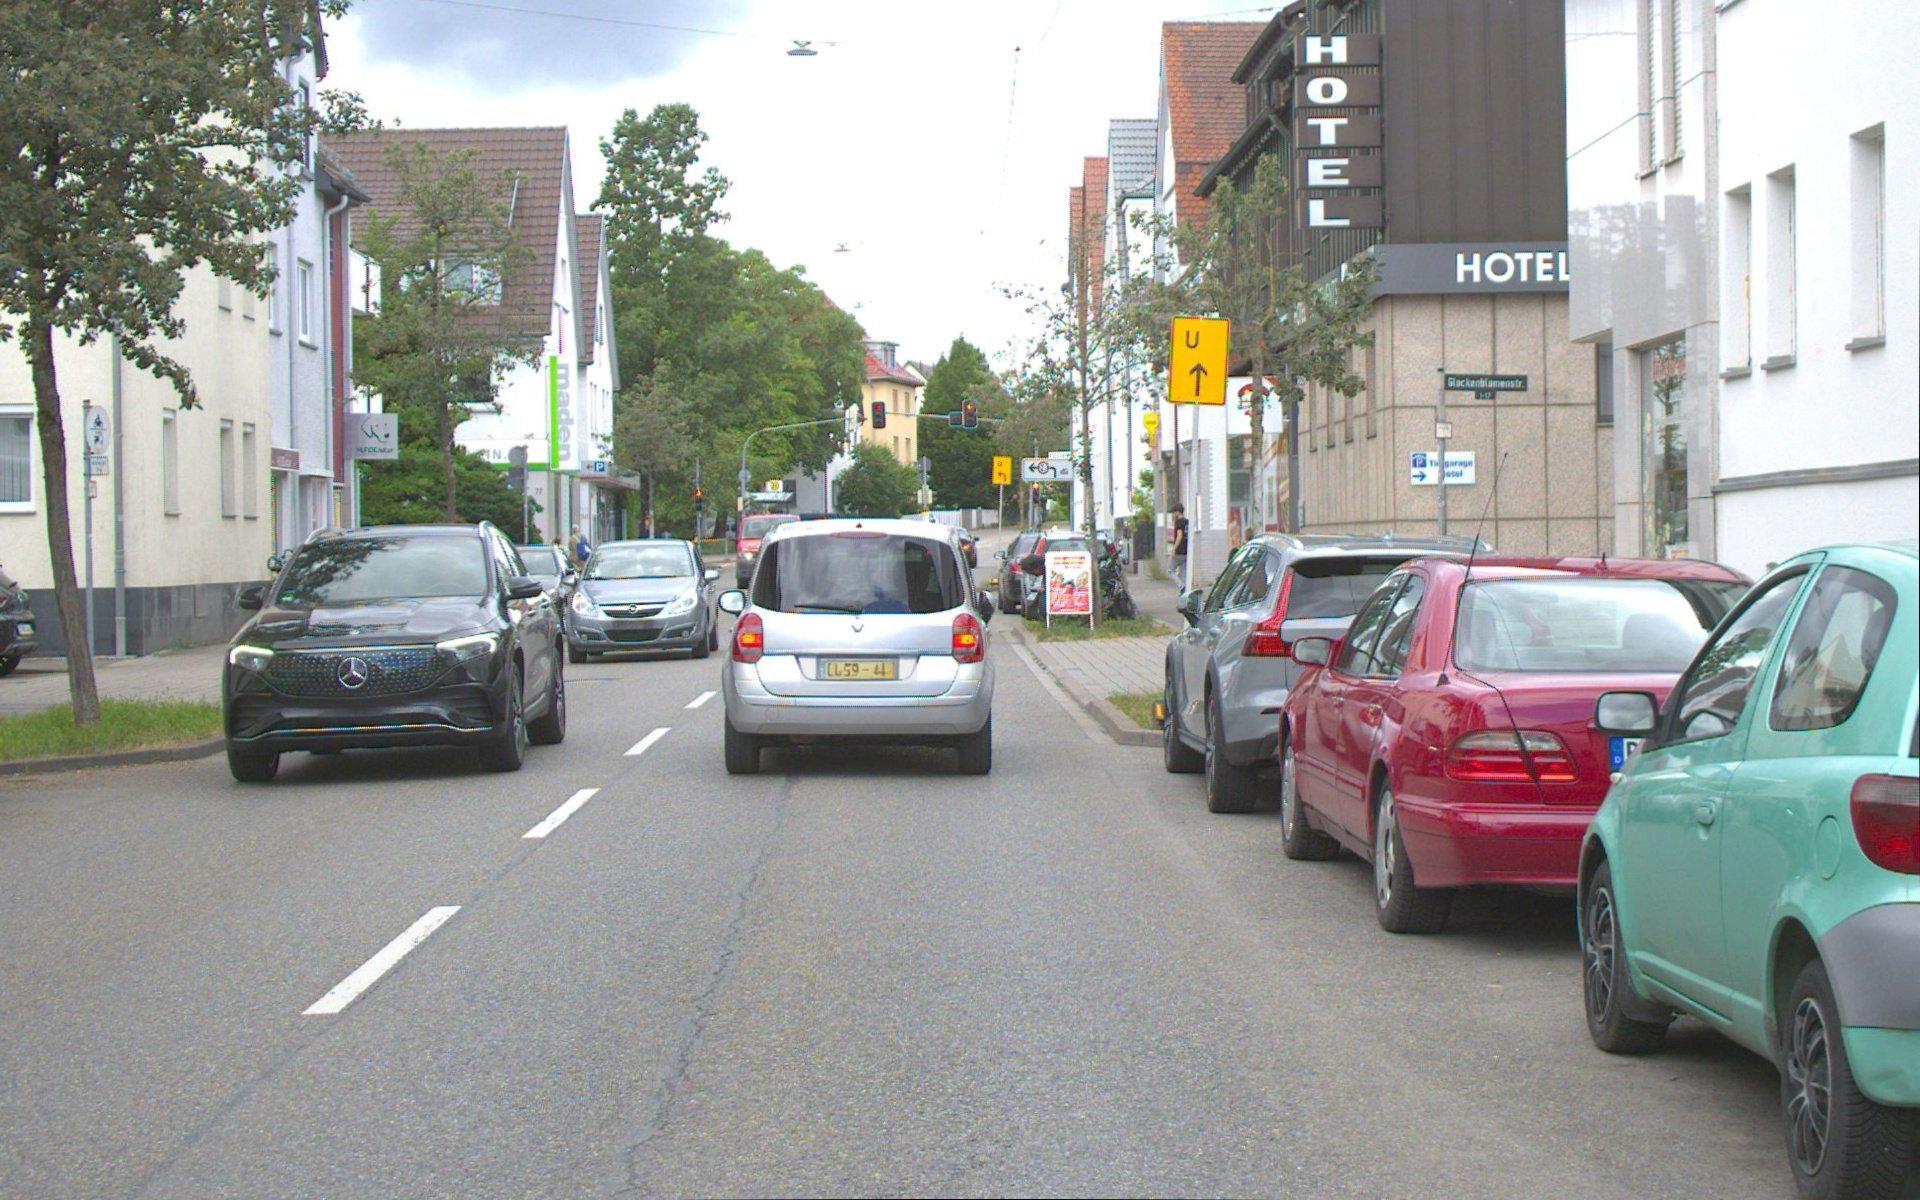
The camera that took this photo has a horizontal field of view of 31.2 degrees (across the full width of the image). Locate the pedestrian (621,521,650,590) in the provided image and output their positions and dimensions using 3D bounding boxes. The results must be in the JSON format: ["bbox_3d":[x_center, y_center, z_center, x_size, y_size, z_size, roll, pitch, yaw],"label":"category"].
[{"bbox_3d":[-8.859,-1.212,93.921,0.716,1.869,0.696,0,1,-1],"label":"pedestrian"}]

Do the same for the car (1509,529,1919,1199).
[{"bbox_3d":[2.693,0.573,9.024,1.831,1.492,3.993,1,1,0],"label":"car"}]

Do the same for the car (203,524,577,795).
[{"bbox_3d":[-3.698,0.316,23.015,1.794,1.573,4.192,-2,1,-1],"label":"car"}]

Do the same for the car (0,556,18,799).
[{"bbox_3d":[-6.523,0.521,18.836,1.682,1.442,4.021,-2,1,-2],"label":"car"}]

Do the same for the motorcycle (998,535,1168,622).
[{"bbox_3d":[1.928,-0.342,53.813,2.707,1.331,0.700,0,1,-31],"label":"motorcycle"}]

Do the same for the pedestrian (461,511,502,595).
[{"bbox_3d":[-10.290,-1.013,73.961,0.762,1.785,0.890,0,1,-1],"label":"pedestrian"}]

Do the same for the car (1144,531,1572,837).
[{"bbox_3d":[2.126,0.384,19.579,1.875,1.534,4.513,0,1,0],"label":"car"}]

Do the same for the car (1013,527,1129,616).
[{"bbox_3d":[1.812,-0.494,56.959,1.700,1.425,3.891,0,1,-1],"label":"car"}]

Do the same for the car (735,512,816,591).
[{"bbox_3d":[-4.838,-1.288,90.531,1.952,2.007,4.000,0,1,-1],"label":"car"}]

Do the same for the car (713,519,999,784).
[{"bbox_3d":[-0.626,0.267,22.461,1.682,1.560,3.993,1,1,0],"label":"car"}]

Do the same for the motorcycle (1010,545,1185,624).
[{"bbox_3d":[2.120,-0.246,52.770,2.728,1.179,0.700,0,1,-31],"label":"motorcycle"}]

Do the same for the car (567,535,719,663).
[{"bbox_3d":[-3.881,-0.045,42.568,1.682,1.442,4.021,-2,1,-3],"label":"car"}]

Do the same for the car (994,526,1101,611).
[{"bbox_3d":[1.541,-0.589,61.768,1.700,1.462,4.239,0,1,-1],"label":"car"}]

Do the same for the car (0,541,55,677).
[{"bbox_3d":[-12.702,0.184,39.767,3.986,1.529,1.735,-3,1,-3],"label":"car"}]

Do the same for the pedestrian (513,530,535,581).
[{"bbox_3d":[-11.018,-1.131,86.832,0.492,1.273,0.588,0,1,-1],"label":"pedestrian"}]

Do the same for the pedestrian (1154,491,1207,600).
[{"bbox_3d":[3.945,-0.979,61.562,0.857,1.921,0.900,0,1,-1],"label":"pedestrian"}]

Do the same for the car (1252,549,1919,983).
[{"bbox_3d":[2.366,0.532,13.861,1.755,1.441,4.455,1,1,-3],"label":"car"}]

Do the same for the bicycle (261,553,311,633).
[{"bbox_3d":[-9.919,-0.118,50.619,0.514,1.149,1.666,0,1,-4],"label":"bicycle"}]

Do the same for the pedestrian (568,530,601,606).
[{"bbox_3d":[-9.312,-0.797,85.275,0.762,1.869,0.696,0,1,-1],"label":"pedestrian"}]

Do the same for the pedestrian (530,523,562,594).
[{"bbox_3d":[-10.258,-1.041,85.234,0.716,1.750,0.696,0,1,-1],"label":"pedestrian"}]

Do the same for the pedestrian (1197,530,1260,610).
[{"bbox_3d":[4.581,-0.512,58.725,0.887,1.295,0.966,-4,1,0],"label":"pedestrian"}]

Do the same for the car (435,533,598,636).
[{"bbox_3d":[-6.954,-0.275,54.292,1.948,1.462,4.516,-3,1,0],"label":"car"}]
